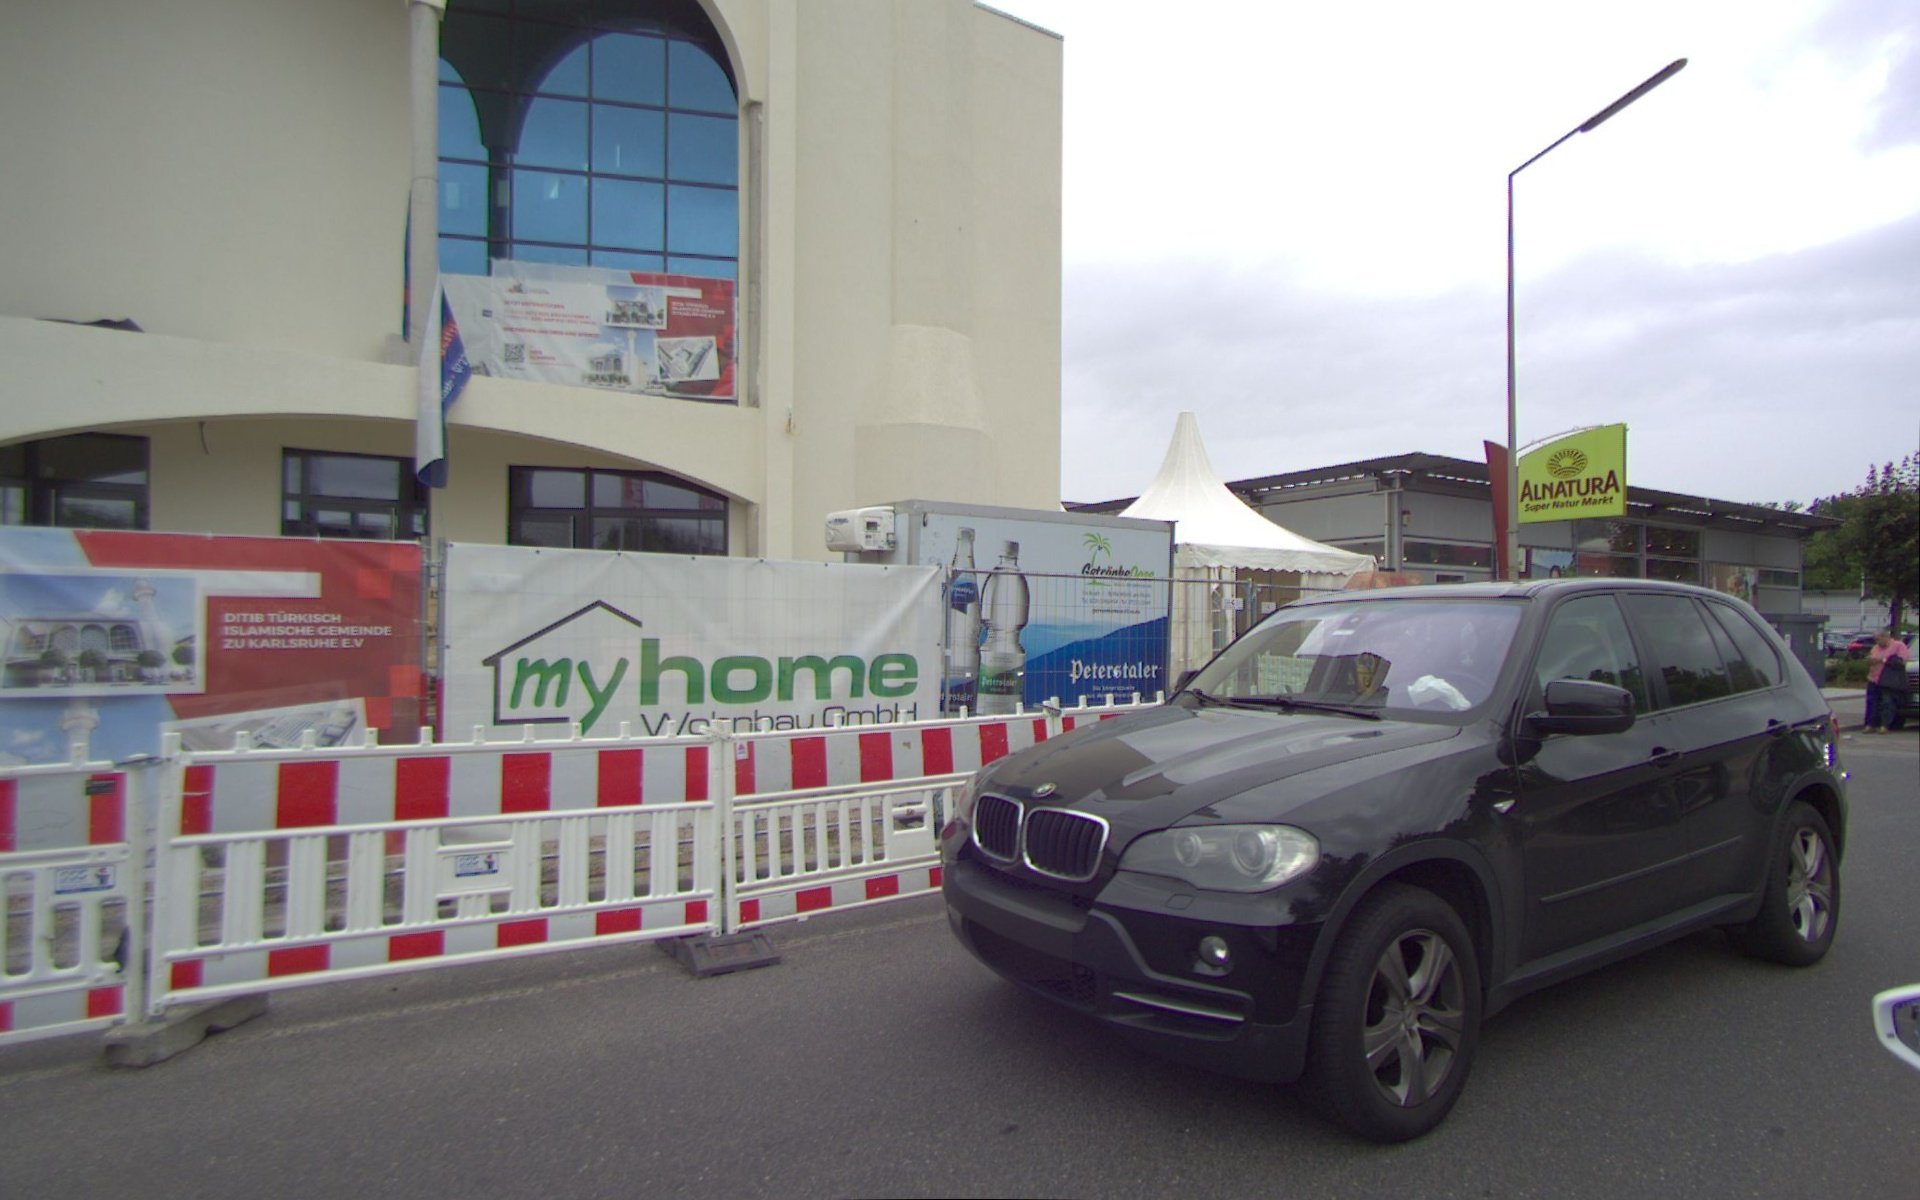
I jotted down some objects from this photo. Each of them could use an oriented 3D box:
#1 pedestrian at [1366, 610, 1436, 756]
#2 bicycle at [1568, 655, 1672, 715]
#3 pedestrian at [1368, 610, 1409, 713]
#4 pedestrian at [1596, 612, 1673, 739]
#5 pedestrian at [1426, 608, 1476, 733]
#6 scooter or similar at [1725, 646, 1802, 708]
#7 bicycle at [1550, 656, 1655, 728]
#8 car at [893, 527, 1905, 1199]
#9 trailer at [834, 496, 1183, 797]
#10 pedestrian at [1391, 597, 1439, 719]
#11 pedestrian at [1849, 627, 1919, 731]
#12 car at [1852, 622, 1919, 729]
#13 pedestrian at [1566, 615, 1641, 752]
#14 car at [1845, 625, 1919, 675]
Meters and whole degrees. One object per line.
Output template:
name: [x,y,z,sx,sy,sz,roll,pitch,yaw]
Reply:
pedestrian: [5.526,1.018,12.591,0.682,1.772,0.487,1,-1,-26]
bicycle: [12.564,1.600,19.176,0.388,1.060,1.650,1,-1,-33]
pedestrian: [7.013,1.000,16.441,0.464,1.657,0.421,0,-1,-8]
pedestrian: [9.765,1.070,14.565,0.673,1.741,0.696,1,3,12]
pedestrian: [6.669,0.938,13.631,0.531,1.633,0.490,2,0,30]
scooter or similar: [16.012,1.513,20.009,1.622,1.172,0.658,1,-1,-30]
bicycle: [10.373,1.464,16.199,1.876,1.092,0.542,2,-1,-26]
car: [2.179,0.755,4.569,4.602,1.683,1.949,1,-4,-32]
trailer: [0.498,0.451,10.371,3.152,2.641,1.790,1,-2,-29]
pedestrian: [7.160,0.901,15.814,0.626,1.890,0.390,-1,-1,35]
pedestrian: [15.033,1.272,16.337,0.646,1.643,0.670,1,-2,-31]
car: [17.390,1.230,17.149,4.675,1.713,1.857,1,-5,-31]
pedestrian: [8.468,1.087,13.229,0.707,1.778,0.410,0,-1,-6]
car: [33.486,1.760,34.779,1.906,1.642,3.853,1,0,-31]
